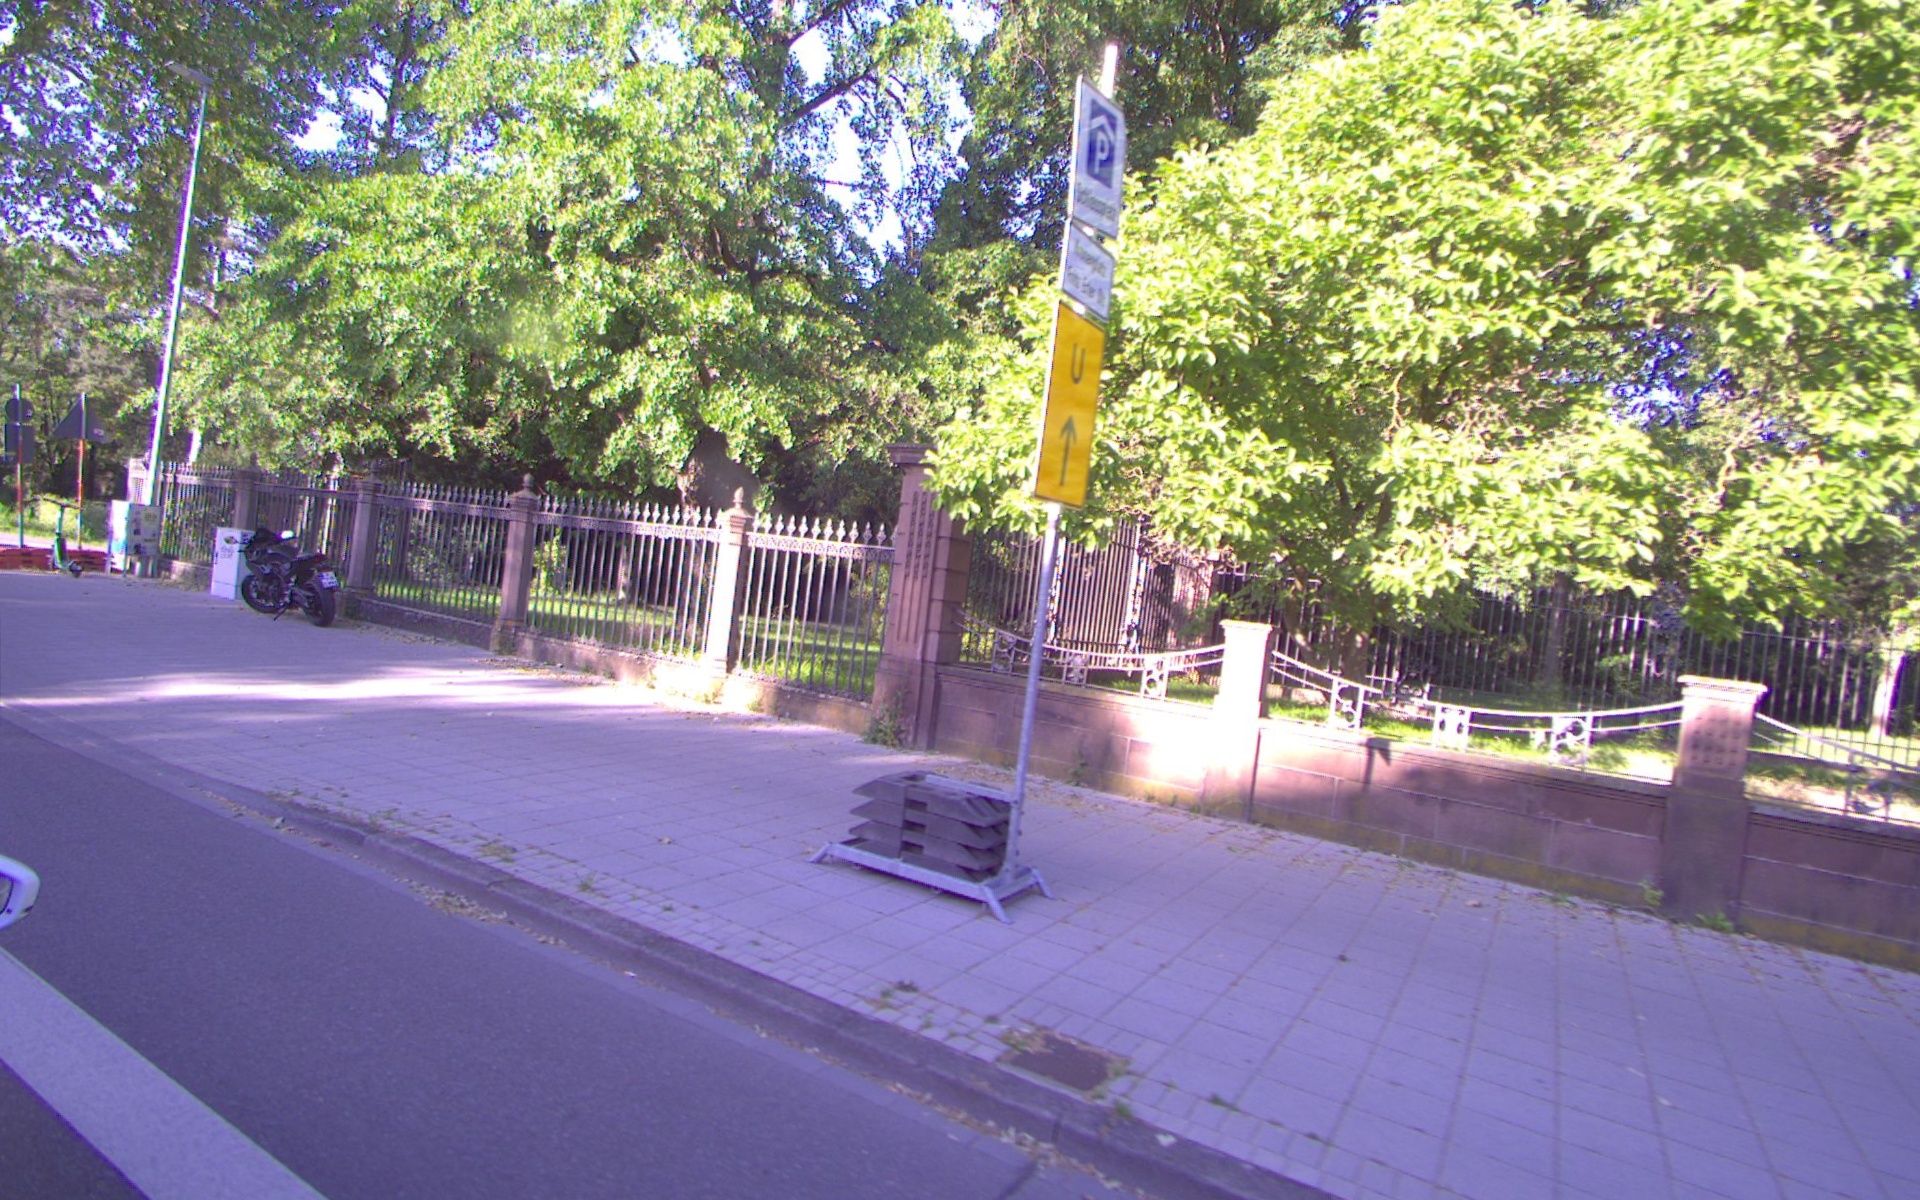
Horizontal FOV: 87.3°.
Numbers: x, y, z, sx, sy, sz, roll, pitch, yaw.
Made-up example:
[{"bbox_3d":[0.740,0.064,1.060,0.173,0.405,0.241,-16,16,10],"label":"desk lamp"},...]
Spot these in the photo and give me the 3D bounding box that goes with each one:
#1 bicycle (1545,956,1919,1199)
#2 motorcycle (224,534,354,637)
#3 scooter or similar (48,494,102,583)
[{"bbox_3d":[1.785,1.245,1.052,2.046,1.021,0.670,7,-1,31],"label":"bicycle"},{"bbox_3d":[-8.918,-0.206,13.337,2.134,1.146,0.506,7,2,31],"label":"motorcycle"},{"bbox_3d":[-14.513,-1.015,16.487,1.152,1.344,0.228,7,2,31],"label":"scooter or similar"}]
